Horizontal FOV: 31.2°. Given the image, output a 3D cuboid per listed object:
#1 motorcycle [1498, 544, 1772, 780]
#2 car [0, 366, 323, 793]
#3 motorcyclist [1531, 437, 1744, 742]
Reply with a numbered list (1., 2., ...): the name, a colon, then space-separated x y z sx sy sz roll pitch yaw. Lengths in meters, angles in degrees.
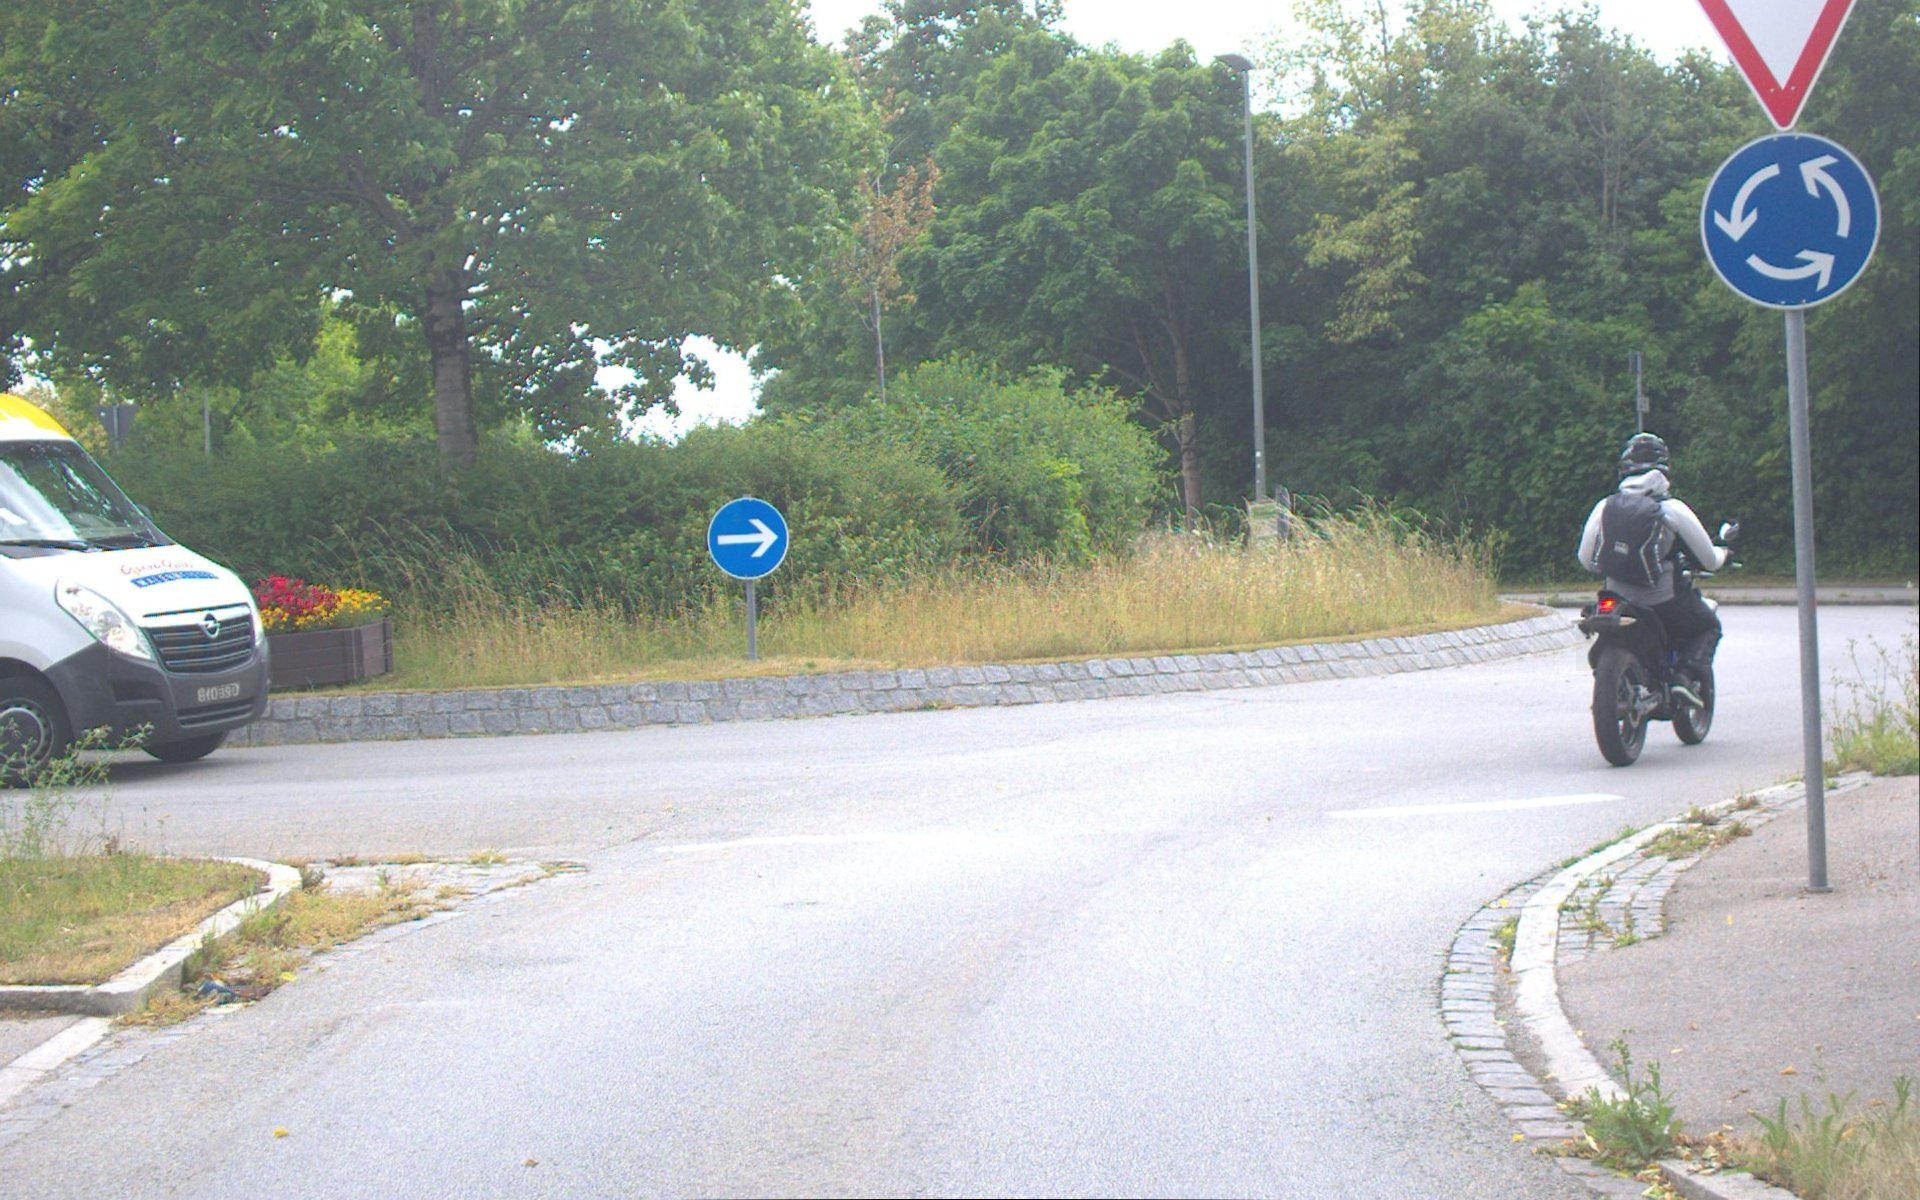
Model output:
1. motorcycle: 3.756 0.304 18.930 0.897 1.154 2.617 -1 2 24
2. car: -7.009 -0.084 21.768 5.430 2.443 2.167 -2 2 22
3. motorcyclist: 3.744 -0.068 18.929 0.862 1.618 1.189 -1 1 24
